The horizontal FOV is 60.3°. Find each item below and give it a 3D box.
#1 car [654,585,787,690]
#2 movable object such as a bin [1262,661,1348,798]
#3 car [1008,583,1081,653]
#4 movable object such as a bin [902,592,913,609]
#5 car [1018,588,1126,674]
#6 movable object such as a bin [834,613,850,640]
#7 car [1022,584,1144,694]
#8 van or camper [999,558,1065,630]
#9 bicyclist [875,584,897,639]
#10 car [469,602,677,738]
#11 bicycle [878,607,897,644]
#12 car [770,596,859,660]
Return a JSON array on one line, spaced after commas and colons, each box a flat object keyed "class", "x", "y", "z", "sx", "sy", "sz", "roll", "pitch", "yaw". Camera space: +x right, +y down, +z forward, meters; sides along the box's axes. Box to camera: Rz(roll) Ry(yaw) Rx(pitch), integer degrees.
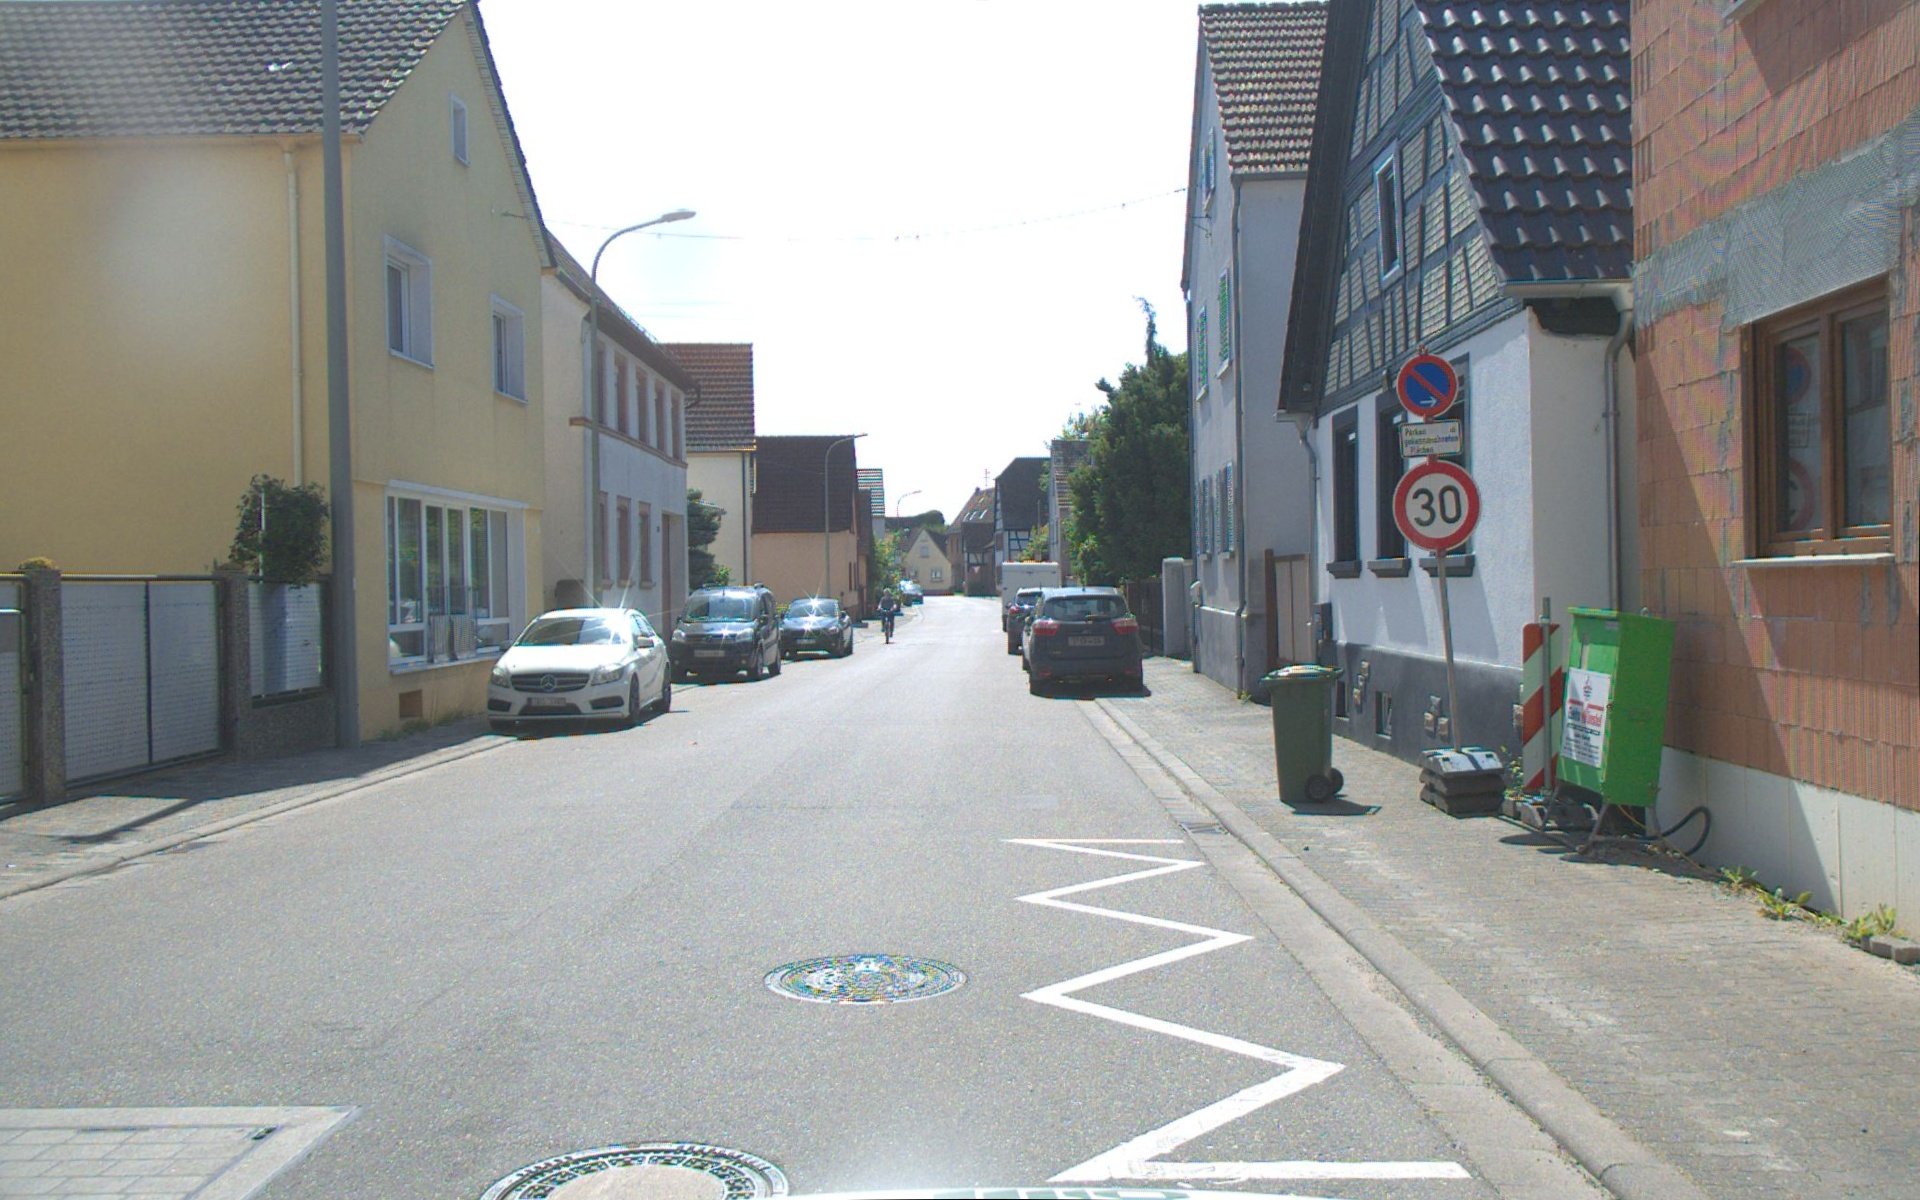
[{"class": "car", "x": -4.667, "y": 0.675, "z": 32.778, "sx": 1.796, "sy": 1.869, "sz": 4.355, "roll": -2, "pitch": 0, "yaw": 2}, {"class": "movable object such as a bin", "x": 2.495, "y": 0.924, "z": 11.936, "sx": 0.526, "sy": 0.929, "sz": 0.552, "roll": -1, "pitch": 0, "yaw": 18}, {"class": "car", "x": 2.274, "y": 0.434, "z": 43.452, "sx": 1.756, "sy": 1.659, "sz": 4.363, "roll": -2, "pitch": 1, "yaw": 5}, {"class": "movable object such as a bin", "x": -3.749, "y": 0.017, "z": 118.532, "sx": 0.674, "sy": 1.206, "sz": 0.714, "roll": -2, "pitch": 0, "yaw": 1}, {"class": "car", "x": 2.123, "y": 0.556, "z": 32.478, "sx": 1.782, "sy": 1.535, "sz": 4.581, "roll": -2, "pitch": 0, "yaw": 0}, {"class": "movable object such as a bin", "x": -4.266, "y": 0.945, "z": 59.965, "sx": 0.528, "sy": 0.966, "sz": 0.553, "roll": 0, "pitch": 0, "yaw": 1}, {"class": "car", "x": 1.926, "y": 0.573, "z": 27.104, "sx": 1.760, "sy": 1.587, "sz": 4.632, "roll": -2, "pitch": 0, "yaw": 2}, {"class": "van or camper", "x": 2.882, "y": -0.250, "z": 67.532, "sx": 2.470, "sy": 2.744, "sz": 4.555, "roll": -2, "pitch": 0, "yaw": 0}, {"class": "bicyclist", "x": -2.465, "y": 0.392, "z": 55.262, "sx": 0.689, "sy": 1.802, "sz": 0.624, "roll": -2, "pitch": 0, "yaw": -3}, {"class": "car", "x": -4.912, "y": 0.823, "z": 21.575, "sx": 1.798, "sy": 1.489, "sz": 4.269, "roll": -2, "pitch": 0, "yaw": -2}, {"class": "bicycle", "x": -2.407, "y": 0.824, "z": 55.176, "sx": 0.577, "sy": 1.168, "sz": 1.948, "roll": -2, "pitch": 0, "yaw": -2}, {"class": "car", "x": -3.890, "y": 0.716, "z": 44.916, "sx": 1.806, "sy": 1.553, "sz": 4.766, "roll": -2, "pitch": 0, "yaw": 2}]
